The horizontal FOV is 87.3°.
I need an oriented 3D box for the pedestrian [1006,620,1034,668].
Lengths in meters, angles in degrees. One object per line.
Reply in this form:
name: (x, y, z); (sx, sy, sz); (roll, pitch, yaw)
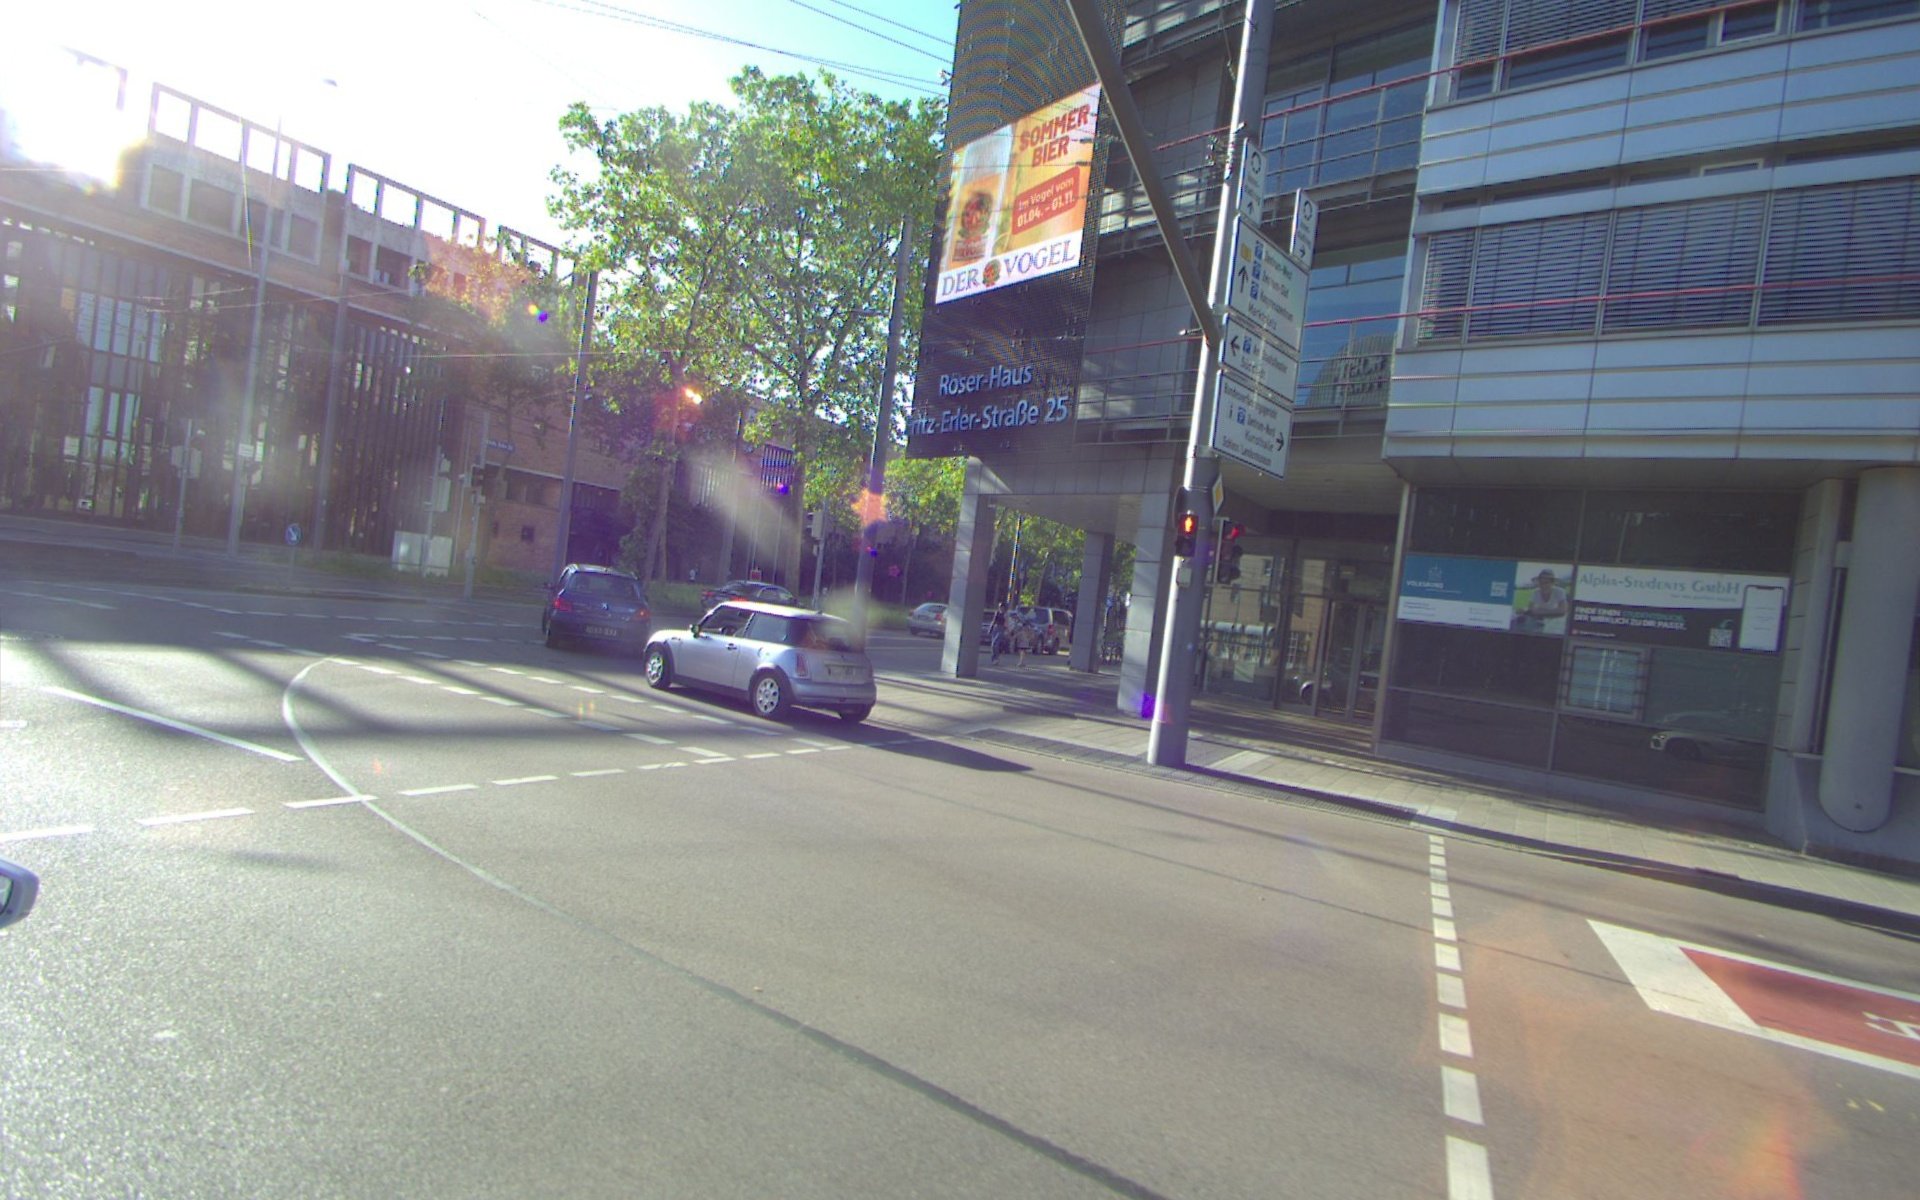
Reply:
pedestrian: (1.597, 1.168, 26.611); (0.435, 1.225, 0.461); (8, 1, 29)

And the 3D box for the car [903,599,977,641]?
car: (-0.802, 0.893, 43.591); (1.669, 1.493, 3.981); (7, 0, 21)

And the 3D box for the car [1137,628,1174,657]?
car: (12.389, 2.692, 63.582); (1.832, 1.493, 3.979); (7, 0, 16)

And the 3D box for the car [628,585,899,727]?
car: (-2.751, 0.734, 13.775); (3.484, 1.405, 1.661); (7, -1, 39)

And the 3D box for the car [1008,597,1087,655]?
car: (3.632, 1.122, 41.151); (1.833, 2.041, 4.457); (7, 0, 21)

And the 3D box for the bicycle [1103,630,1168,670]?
bicycle: (6.984, 1.986, 40.009); (2.349, 1.228, 0.775); (8, 0, 15)

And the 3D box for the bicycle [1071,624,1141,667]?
bicycle: (5.436, 1.701, 37.372); (2.349, 1.228, 0.775); (8, 0, 15)

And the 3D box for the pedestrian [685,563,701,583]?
pedestrian: (-19.977, -2.037, 75.264); (0.798, 1.401, 0.687); (8, 1, 24)

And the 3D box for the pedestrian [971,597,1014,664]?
pedestrian: (0.864, 0.818, 26.558); (0.649, 1.660, 0.792); (8, 1, 29)

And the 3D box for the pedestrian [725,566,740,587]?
pedestrian: (-18.509, -1.907, 81.959); (0.797, 1.626, 0.687); (7, 1, 9)

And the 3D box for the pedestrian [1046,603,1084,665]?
pedestrian: (3.168, 1.024, 30.289); (0.578, 1.754, 0.790); (7, -1, 40)

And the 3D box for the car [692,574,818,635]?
car: (-6.197, 0.180, 30.877); (1.669, 1.457, 4.018); (7, -1, 23)

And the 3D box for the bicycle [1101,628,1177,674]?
bicycle: (6.244, 1.766, 35.145); (2.357, 1.228, 0.773); (8, 0, 36)

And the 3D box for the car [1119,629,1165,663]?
car: (9.580, 2.413, 52.777); (1.832, 1.493, 3.979); (7, 0, 16)

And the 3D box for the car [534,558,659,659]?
car: (-6.924, 0.088, 18.906); (1.843, 1.493, 3.955); (7, 0, -23)

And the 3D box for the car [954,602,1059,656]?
car: (1.700, 1.045, 35.644); (1.837, 1.493, 3.968); (7, 0, 33)
